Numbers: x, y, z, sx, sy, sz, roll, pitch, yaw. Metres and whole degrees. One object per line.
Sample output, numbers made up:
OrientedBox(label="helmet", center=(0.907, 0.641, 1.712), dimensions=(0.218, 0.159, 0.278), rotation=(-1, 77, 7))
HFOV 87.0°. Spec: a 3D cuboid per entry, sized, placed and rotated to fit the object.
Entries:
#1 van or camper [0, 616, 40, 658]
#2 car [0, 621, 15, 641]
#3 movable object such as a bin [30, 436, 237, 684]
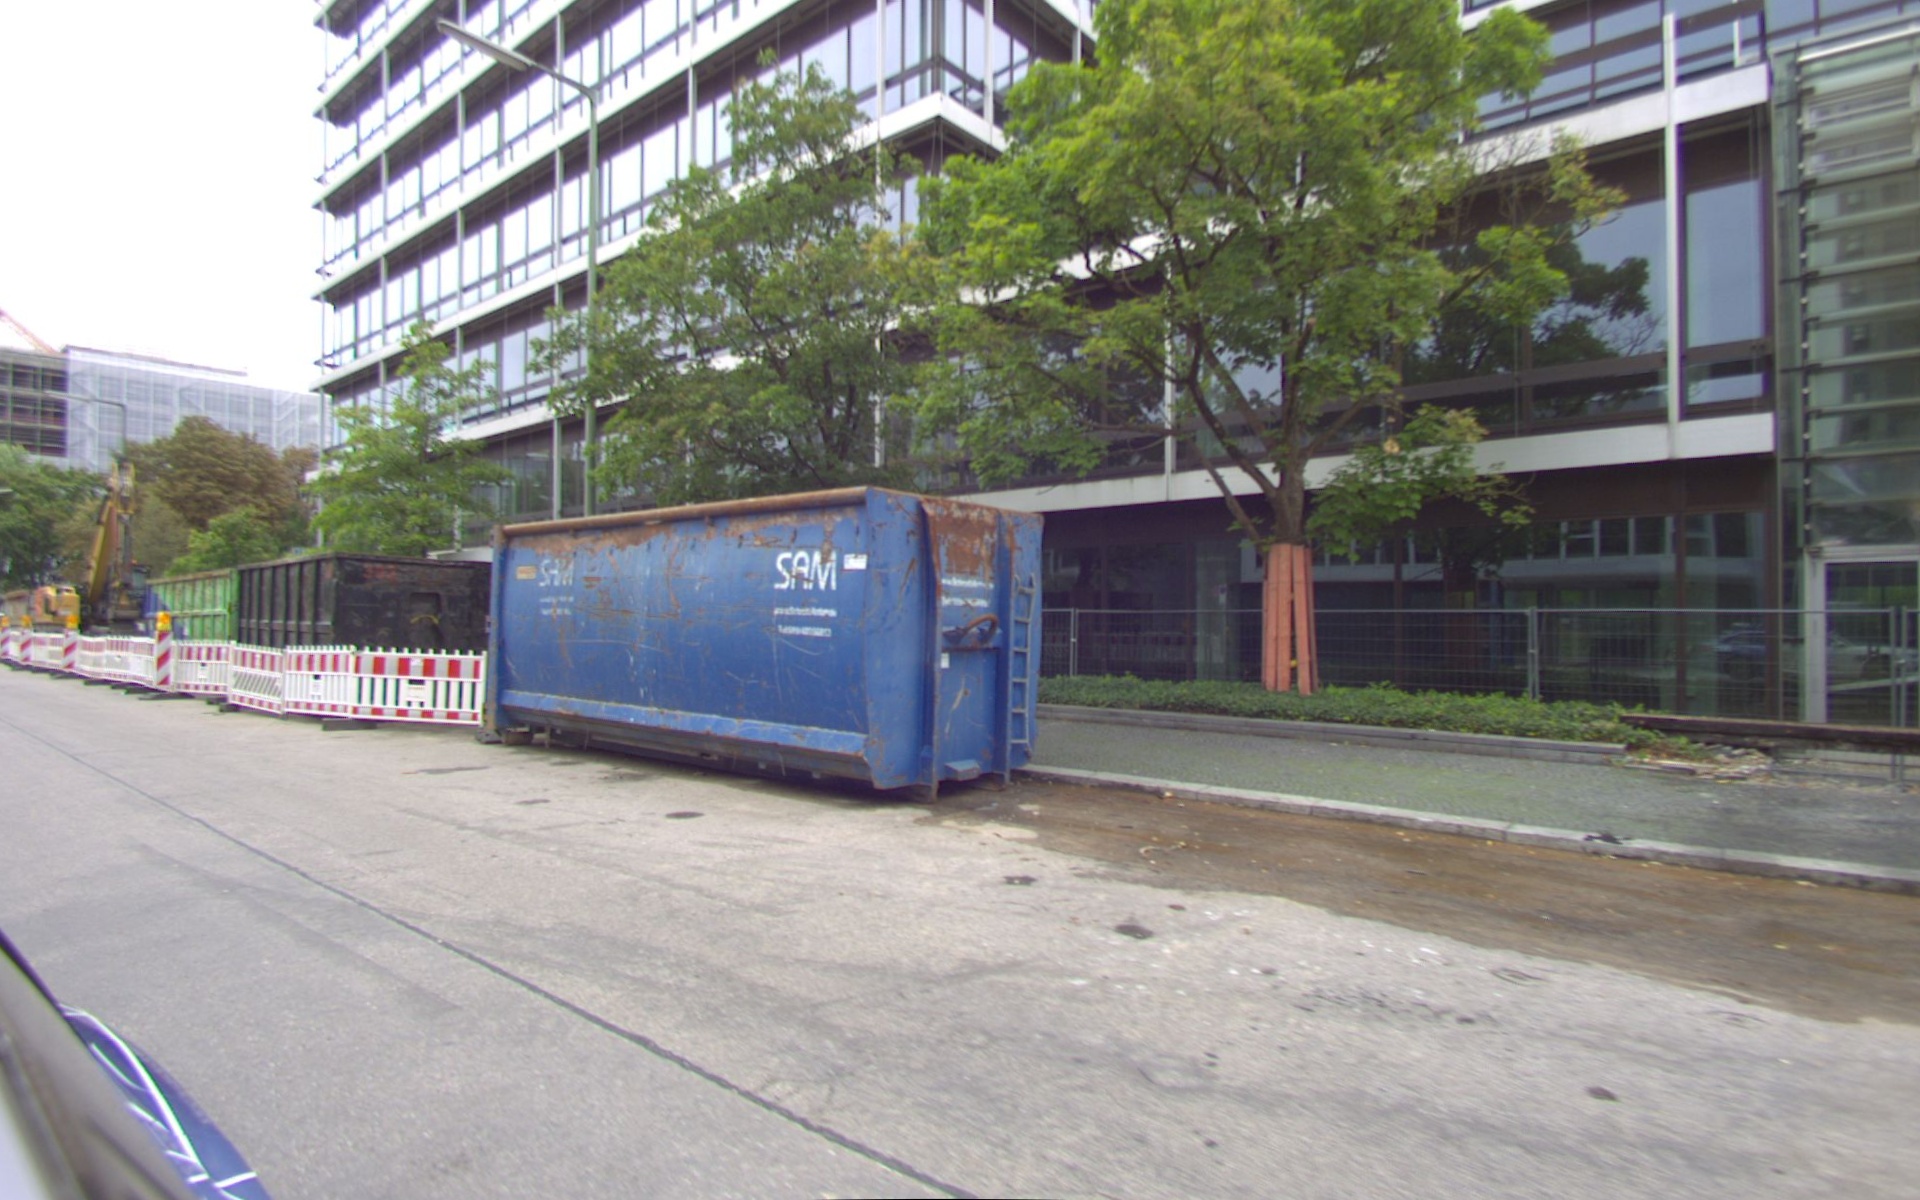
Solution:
OrientedBox(label="van or camper", center=(-49.482, 1.942, 52.712), dimensions=(5.588, 2.050, 1.966), rotation=(-2, -4, 45))
OrientedBox(label="car", center=(-79.257, 2.490, 81.792), dimensions=(1.775, 1.584, 3.863), rotation=(1, -1, 18))
OrientedBox(label="movable object such as a bin", center=(-26.340, -0.976, 31.935), dimensions=(11.776, 6.614, 2.874), rotation=(-1, -2, 41))
